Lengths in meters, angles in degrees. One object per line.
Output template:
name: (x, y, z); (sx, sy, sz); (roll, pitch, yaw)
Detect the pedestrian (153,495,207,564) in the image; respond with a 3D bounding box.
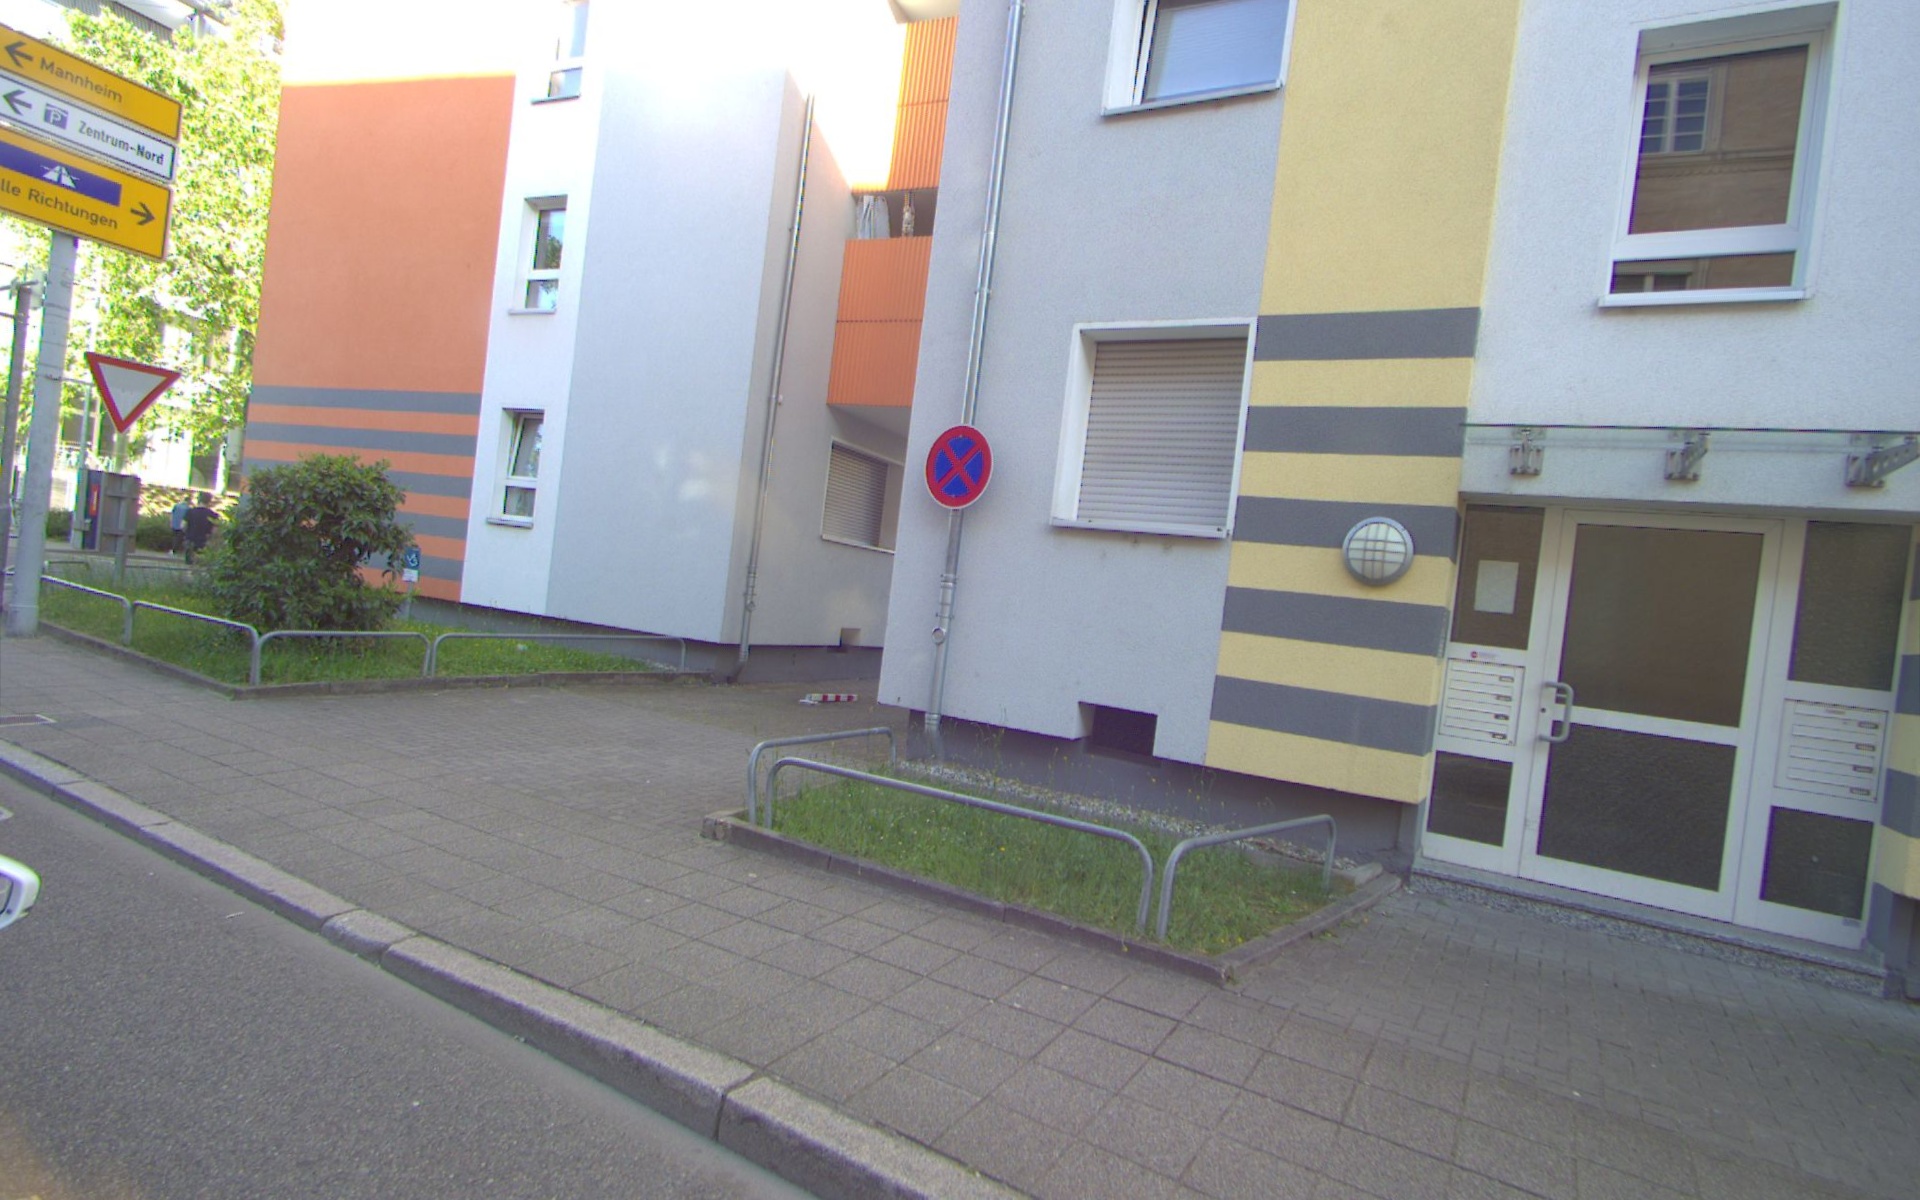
pedestrian: (-22.897, -2.060, 29.531); (0.696, 1.861, 0.837); (8, -1, 22)

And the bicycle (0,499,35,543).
bicycle: (-26.282, -2.228, 27.344); (1.658, 1.063, 0.508); (9, 2, -3)

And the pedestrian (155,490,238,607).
pedestrian: (-13.172, -0.884, 17.356); (0.823, 1.861, 0.708); (8, -1, 32)
